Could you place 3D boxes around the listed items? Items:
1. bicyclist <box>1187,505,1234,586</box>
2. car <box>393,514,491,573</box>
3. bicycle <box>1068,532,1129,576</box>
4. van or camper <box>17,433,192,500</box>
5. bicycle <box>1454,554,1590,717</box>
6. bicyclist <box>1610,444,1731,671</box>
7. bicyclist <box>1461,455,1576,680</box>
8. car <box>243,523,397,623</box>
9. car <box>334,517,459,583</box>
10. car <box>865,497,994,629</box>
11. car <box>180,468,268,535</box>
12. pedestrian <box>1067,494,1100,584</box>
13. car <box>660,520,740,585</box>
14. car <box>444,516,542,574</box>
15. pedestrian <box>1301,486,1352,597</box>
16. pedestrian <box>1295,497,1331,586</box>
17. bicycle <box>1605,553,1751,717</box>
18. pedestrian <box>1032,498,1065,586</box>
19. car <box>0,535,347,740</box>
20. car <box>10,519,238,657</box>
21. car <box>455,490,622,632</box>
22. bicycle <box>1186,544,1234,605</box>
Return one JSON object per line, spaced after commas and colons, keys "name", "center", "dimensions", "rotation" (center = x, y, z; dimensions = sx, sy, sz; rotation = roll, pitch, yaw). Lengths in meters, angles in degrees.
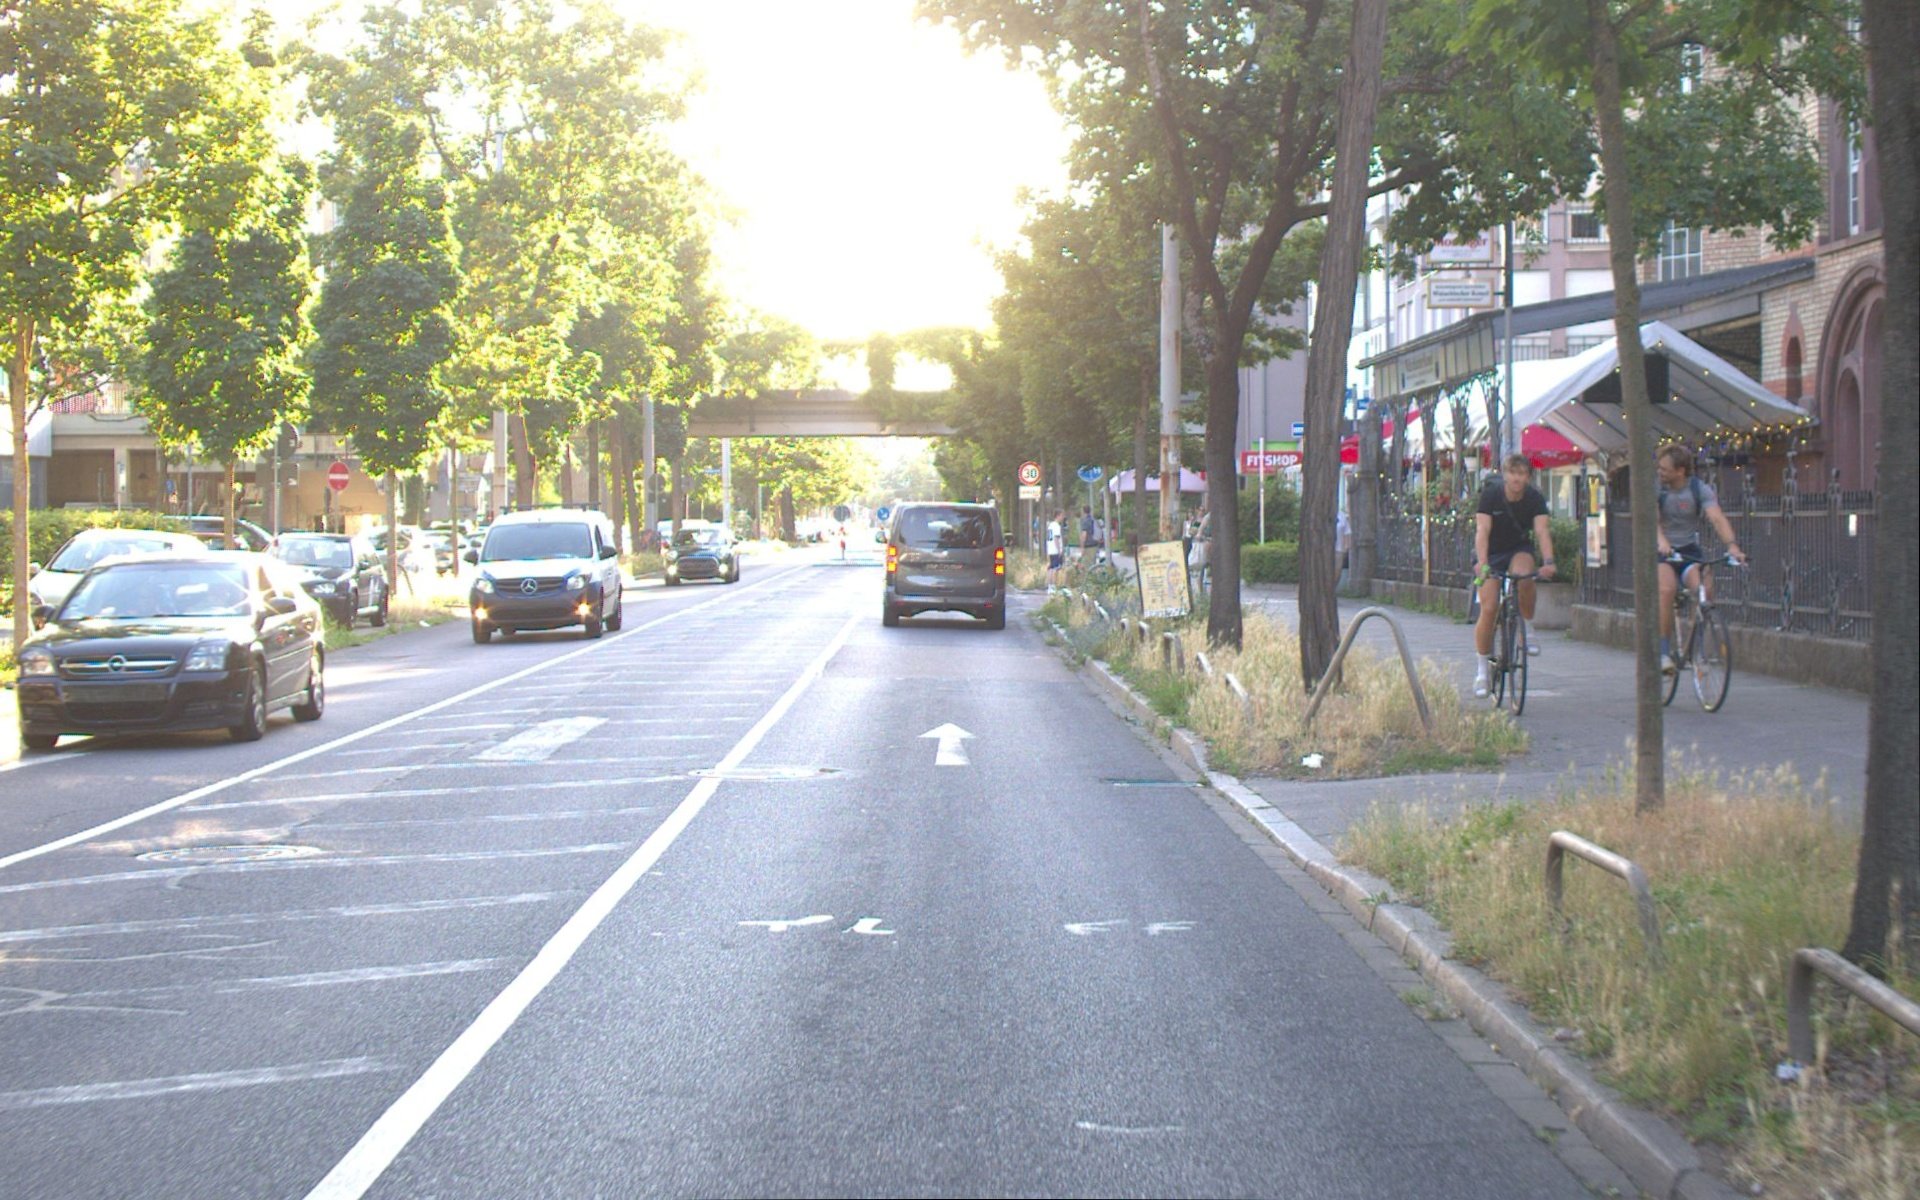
{"name": "bicyclist", "center": [3.869, -0.849, 53.130], "dimensions": [0.585, 1.232, 1.112], "rotation": [2, 1, -1]}
{"name": "car", "center": [-12.076, -1.335, 80.277], "dimensions": [1.671, 1.309, 3.965], "rotation": [2, 2, 0]}
{"name": "bicycle", "center": [2.971, -0.999, 74.087], "dimensions": [0.588, 0.894, 1.988], "rotation": [1, 2, -20]}
{"name": "van or camper", "center": [-35.010, -5.462, 140.822], "dimensions": [6.562, 2.513, 2.450], "rotation": [2, 1, -2]}
{"name": "bicycle", "center": [3.875, 0.220, 23.826], "dimensions": [0.544, 1.036, 2.089], "rotation": [2, 1, -1]}
{"name": "bicyclist", "center": [4.906, -0.302, 23.782], "dimensions": [0.595, 1.527, 0.893], "rotation": [2, 1, -1]}
{"name": "bicyclist", "center": [3.886, -0.234, 23.964], "dimensions": [0.595, 1.527, 0.893], "rotation": [2, 1, -1]}
{"name": "car", "center": [-9.624, -0.441, 51.927], "dimensions": [1.638, 1.381, 4.001], "rotation": [2, 2, -1]}
{"name": "car", "center": [-11.990, -1.095, 73.367], "dimensions": [1.993, 1.305, 4.066], "rotation": [2, 2, 0]}
{"name": "car", "center": [-0.430, -0.603, 52.824], "dimensions": [1.887, 1.918, 3.839], "rotation": [-1, 2, 1]}
{"name": "car", "center": [-26.303, -3.511, 122.981], "dimensions": [1.993, 2.299, 5.245], "rotation": [2, 1, 0]}
{"name": "pedestrian", "center": [2.628, -1.301, 73.239], "dimensions": [0.504, 1.882, 0.545], "rotation": [1, 1, -15]}
{"name": "car", "center": [-6.525, -1.221, 86.691], "dimensions": [1.679, 1.524, 4.000], "rotation": [-2, 2, 0]}
{"name": "car", "center": [-12.328, -1.471, 90.901], "dimensions": [1.993, 1.409, 4.237], "rotation": [2, 2, 0]}
{"name": "pedestrian", "center": [5.474, -0.881, 51.329], "dimensions": [0.644, 1.627, 0.656], "rotation": [2, 1, 0]}
{"name": "pedestrian", "center": [5.396, -0.899, 52.556], "dimensions": [0.467, 1.346, 0.530], "rotation": [2, 1, 0]}
{"name": "bicycle", "center": [4.919, 0.215, 23.663], "dimensions": [0.517, 1.036, 2.089], "rotation": [2, 1, -1]}
{"name": "pedestrian", "center": [1.898, -1.245, 73.649], "dimensions": [0.504, 1.882, 0.545], "rotation": [1, 1, -15]}
{"name": "car", "center": [-6.031, 0.227, 26.710], "dimensions": [1.759, 1.381, 4.305], "rotation": [-1, 2, 0]}
{"name": "car", "center": [-9.532, -0.177, 39.475], "dimensions": [1.696, 1.446, 4.001], "rotation": [2, 2, -1]}
{"name": "car", "center": [-5.822, -0.578, 47.933], "dimensions": [1.833, 1.846, 4.474], "rotation": [-1, 2, -1]}
{"name": "bicycle", "center": [3.853, -0.401, 53.106], "dimensions": [0.579, 0.894, 1.987], "rotation": [2, 1, 0]}
